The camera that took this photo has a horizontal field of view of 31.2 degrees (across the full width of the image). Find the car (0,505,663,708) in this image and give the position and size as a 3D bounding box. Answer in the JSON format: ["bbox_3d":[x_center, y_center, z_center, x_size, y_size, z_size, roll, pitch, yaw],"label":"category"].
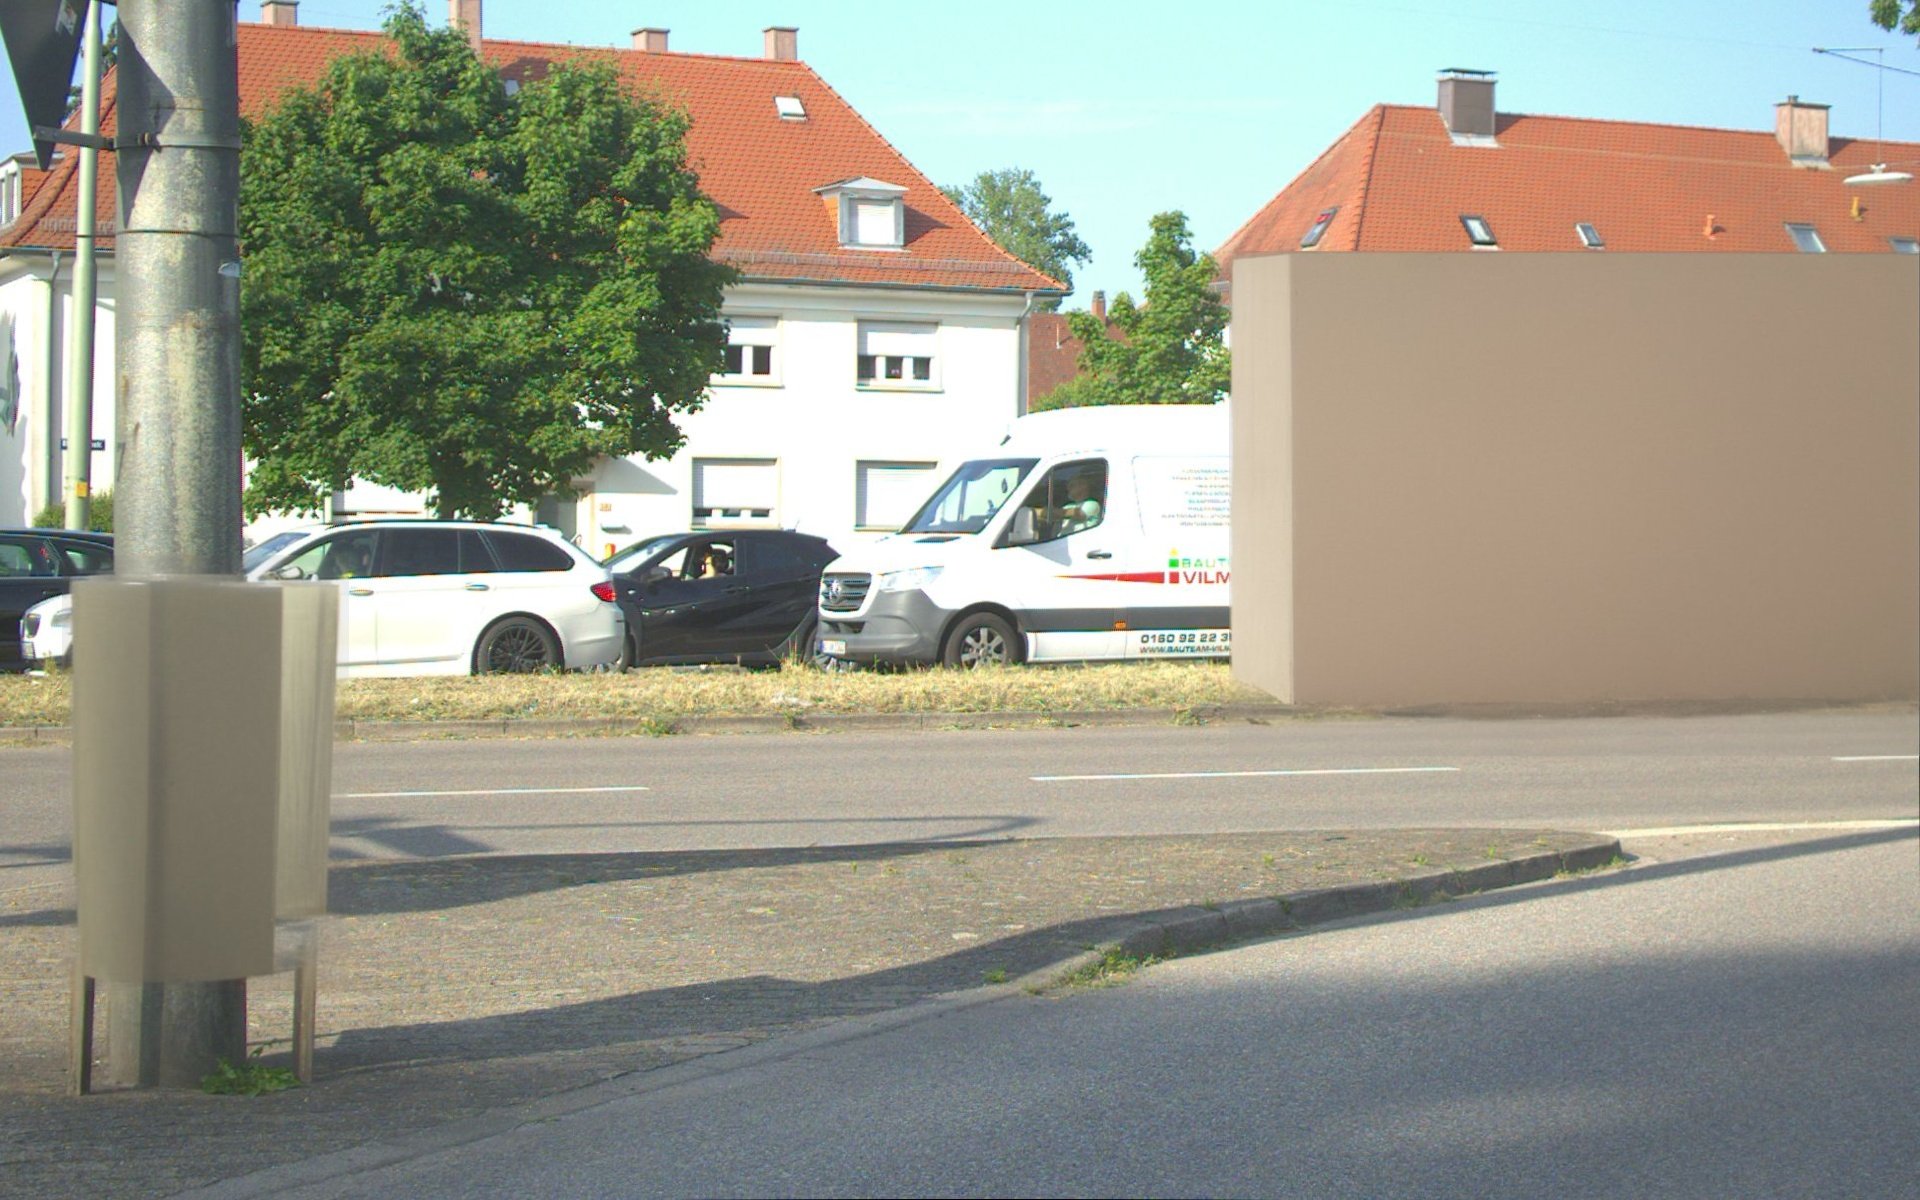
[{"bbox_3d":[-5.160,0.030,28.217,5.094,1.557,1.840,0,1,-26],"label":"car"}]

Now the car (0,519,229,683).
[{"bbox_3d":[-9.018,-0.010,30.172,4.823,1.406,1.716,0,1,-26],"label":"car"}]

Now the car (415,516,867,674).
[{"bbox_3d":[-3.071,-0.062,33.125,3.986,1.448,1.716,0,1,-26],"label":"car"}]

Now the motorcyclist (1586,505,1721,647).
[{"bbox_3d":[6.687,-0.234,33.169,1.065,1.347,0.680,0,1,-27],"label":"motorcyclist"}]

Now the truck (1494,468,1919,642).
[{"bbox_3d":[11.770,-0.746,53.615,6.347,2.515,2.274,2,2,29],"label":"truck"}]

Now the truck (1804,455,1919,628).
[{"bbox_3d":[17.152,-0.959,56.848,6.064,2.844,1.894,1,1,18],"label":"truck"}]

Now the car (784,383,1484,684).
[{"bbox_3d":[1.649,-0.584,31.622,6.207,2.574,2.000,0,1,-26],"label":"car"}]

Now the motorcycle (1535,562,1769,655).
[{"bbox_3d":[6.685,0.079,33.180,2.271,0.863,0.691,0,1,-27],"label":"motorcycle"}]
